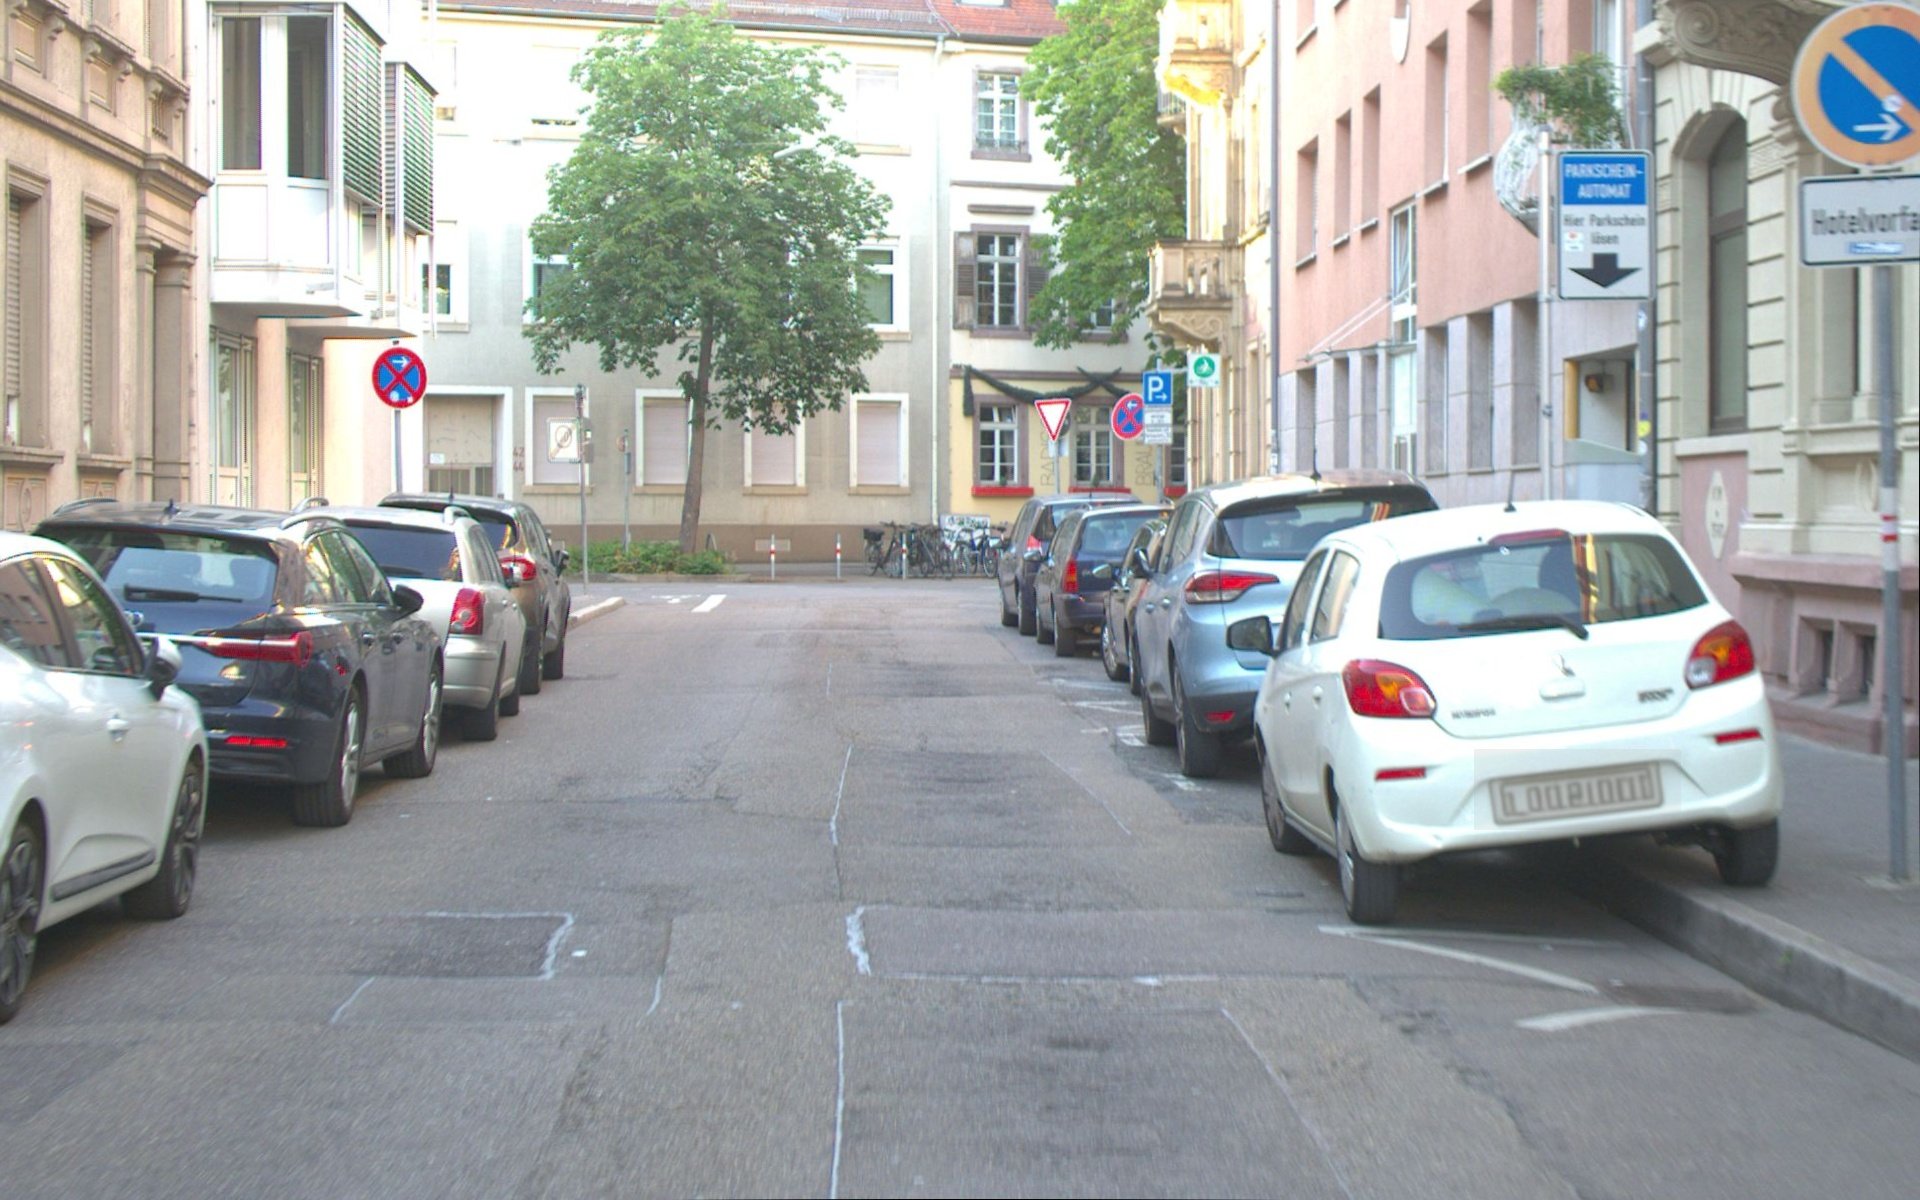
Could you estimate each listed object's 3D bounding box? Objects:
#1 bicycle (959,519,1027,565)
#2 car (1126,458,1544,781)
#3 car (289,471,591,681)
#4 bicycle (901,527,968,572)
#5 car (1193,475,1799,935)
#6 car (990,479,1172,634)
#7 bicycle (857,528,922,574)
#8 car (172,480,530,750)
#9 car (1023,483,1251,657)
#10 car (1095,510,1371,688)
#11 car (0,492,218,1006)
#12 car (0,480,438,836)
[{"bbox_3d":[0.685,-1.211,72.177,0.518,0.945,1.725,-2,2,-34],"label":"bicycle"},{"bbox_3d":[2.108,0.050,20.455,1.993,1.726,4.060,0,2,-1],"label":"car"},{"bbox_3d":[-4.360,-0.223,29.391,1.993,1.657,3.977,0,1,0],"label":"car"},{"bbox_3d":[-0.541,-1.060,71.520,0.518,0.891,1.725,-1,2,-34],"label":"bicycle"},{"bbox_3d":[2.020,0.301,13.989,1.662,1.453,3.760,-6,2,-1],"label":"car"},{"bbox_3d":[1.391,-0.552,41.114,1.993,1.755,4.000,0,2,0],"label":"car"},{"bbox_3d":[-1.507,-1.035,72.954,0.518,0.945,1.725,0,0,-34],"label":"bicycle"},{"bbox_3d":[-4.030,0.028,23.434,1.993,1.661,4.410,0,2,-5],"label":"car"},{"bbox_3d":[1.791,-0.354,36.026,1.993,1.703,4.001,-1,2,-3],"label":"car"},{"bbox_3d":[2.221,-0.059,28.901,1.993,1.379,3.707,0,2,0],"label":"car"},{"bbox_3d":[-3.625,0.390,11.310,1.630,1.467,3.755,0,2,-1],"label":"car"},{"bbox_3d":[-3.722,0.182,17.355,1.614,1.565,4.304,0,2,-1],"label":"car"}]
